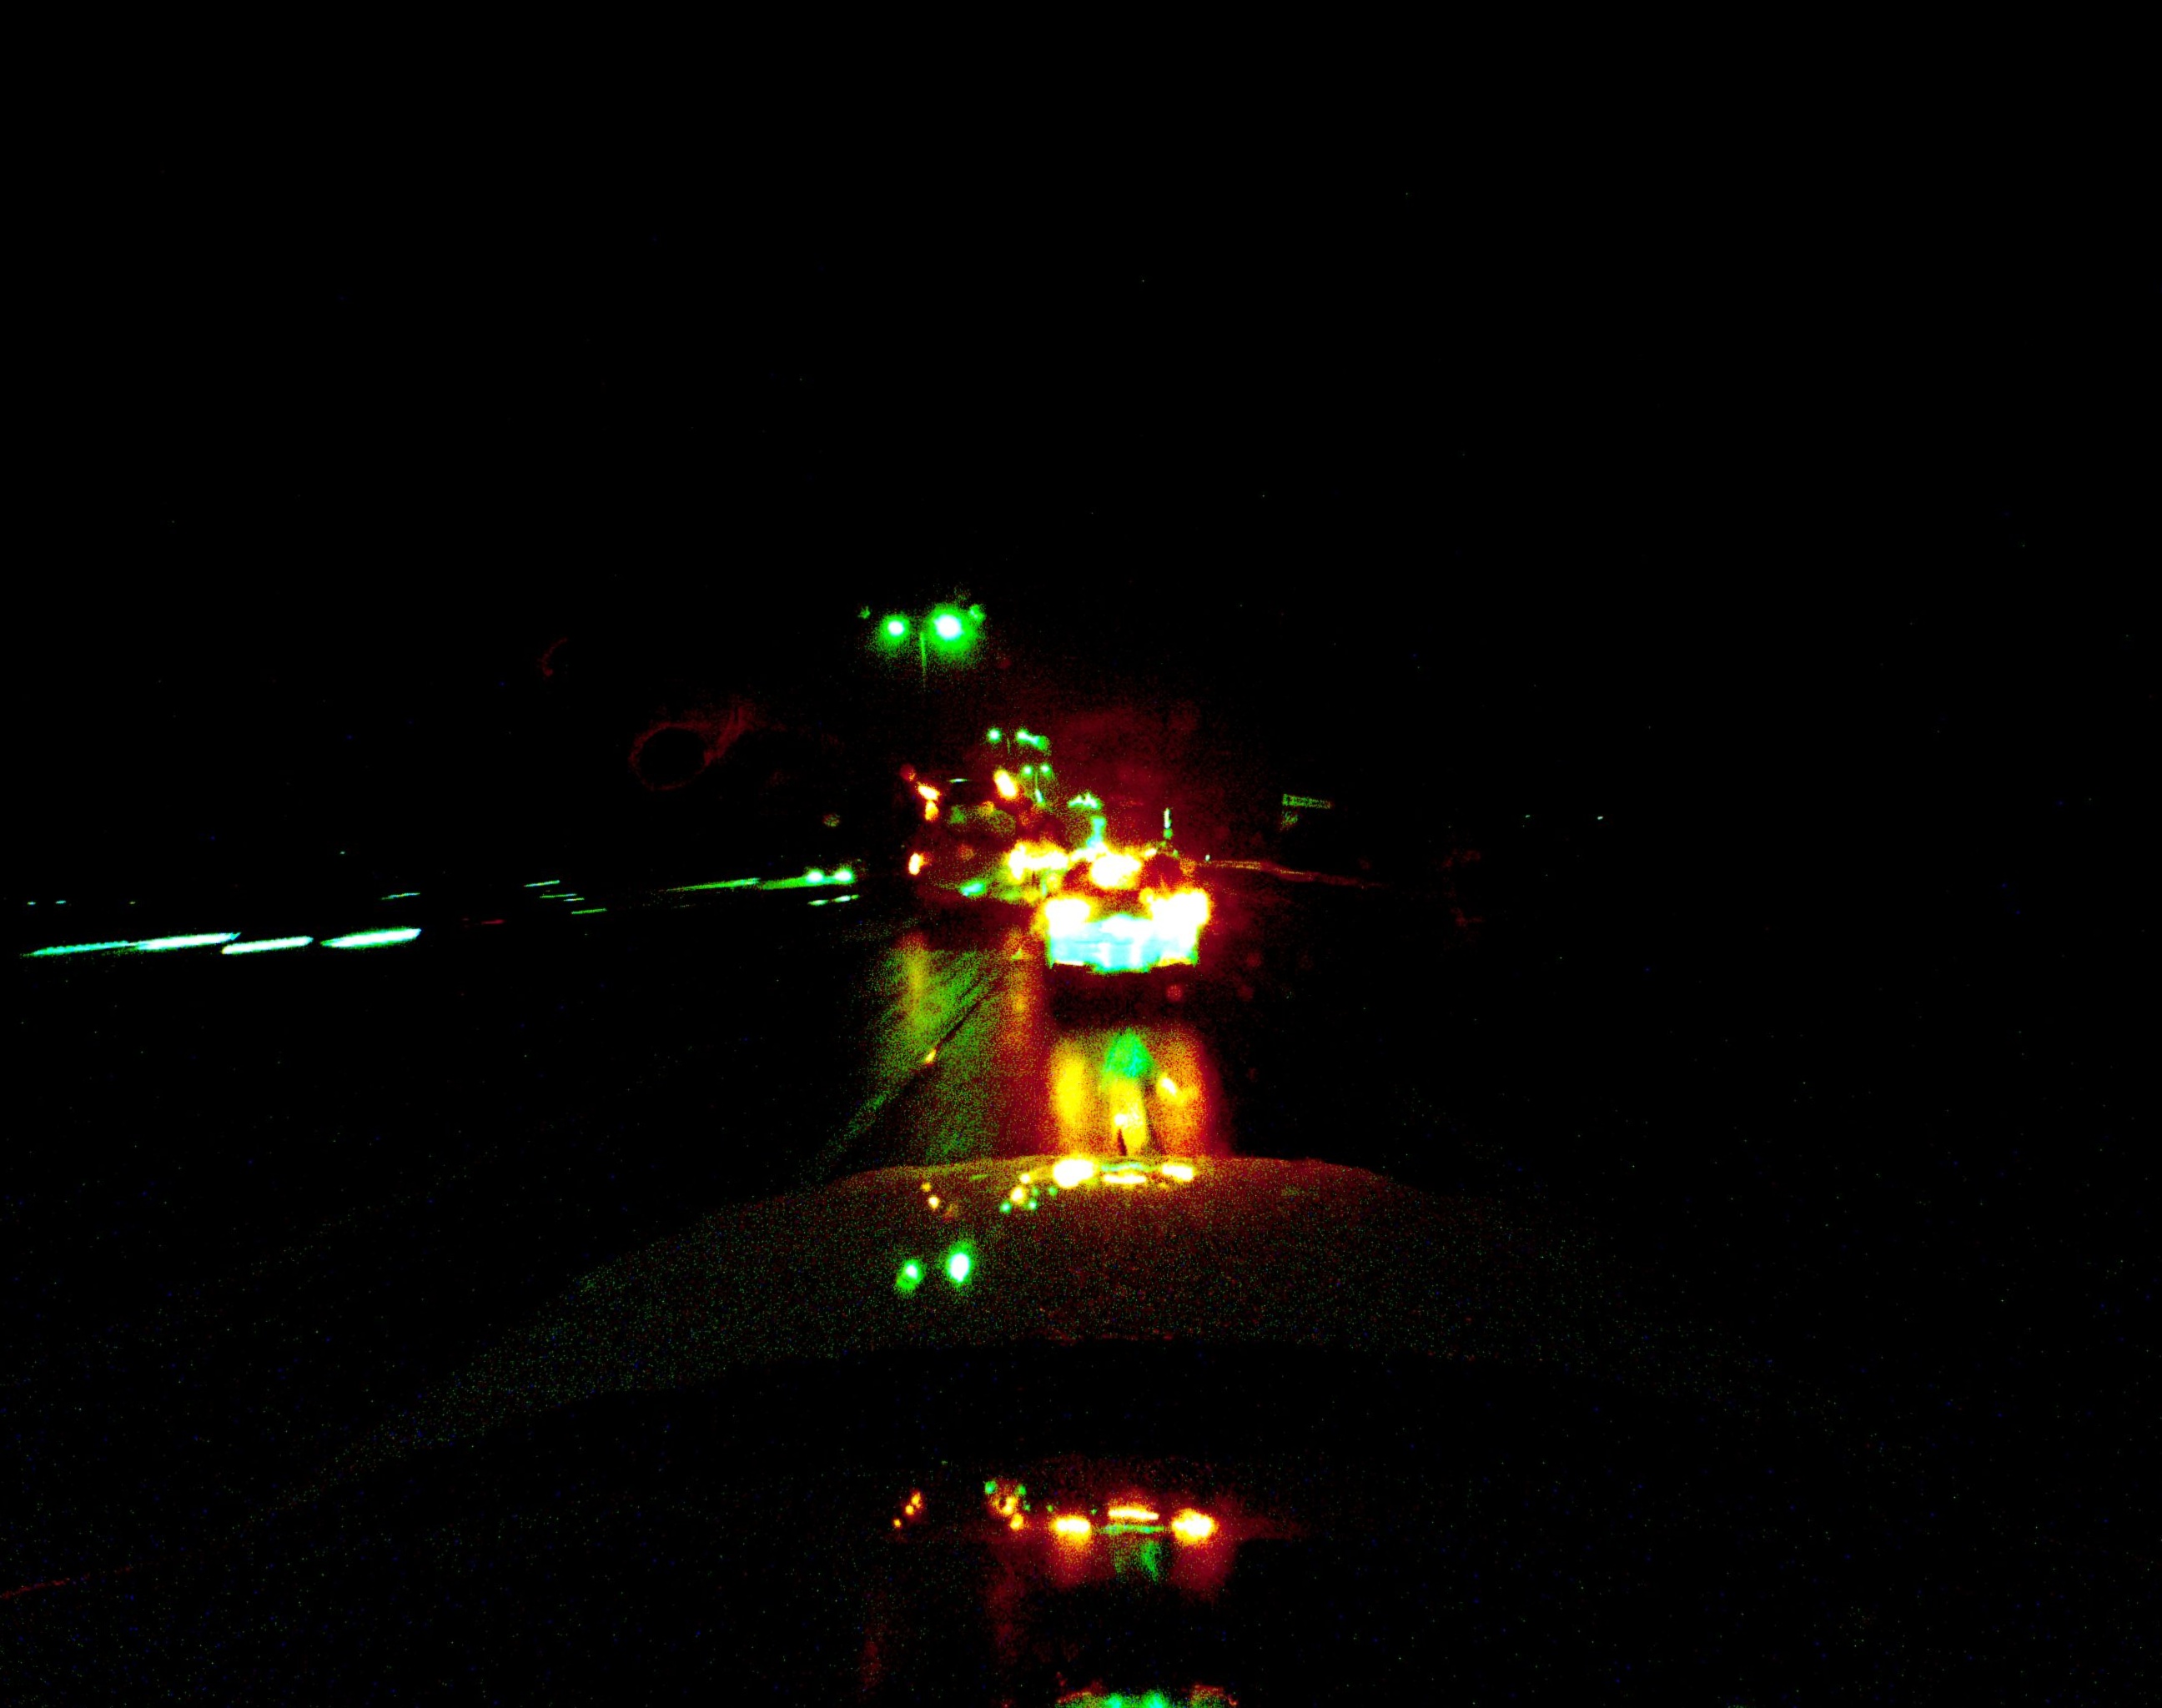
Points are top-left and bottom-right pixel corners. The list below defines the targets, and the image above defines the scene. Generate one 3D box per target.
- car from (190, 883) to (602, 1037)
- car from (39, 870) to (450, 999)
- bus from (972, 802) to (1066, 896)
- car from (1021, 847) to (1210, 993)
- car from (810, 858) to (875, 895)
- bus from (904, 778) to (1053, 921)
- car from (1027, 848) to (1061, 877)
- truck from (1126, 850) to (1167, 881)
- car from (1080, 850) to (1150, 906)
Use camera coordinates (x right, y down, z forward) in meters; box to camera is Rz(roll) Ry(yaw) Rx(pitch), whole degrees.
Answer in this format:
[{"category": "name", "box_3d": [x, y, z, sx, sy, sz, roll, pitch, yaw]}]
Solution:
[{"category": "car", "box_3d": [-9.737, 1.374, 12.297, 2.158, 1.774, 4.704, 1, -1, 0]}, {"category": "car", "box_3d": [-13.497, 1.170, 13.727, 1.987, 1.774, 4.704, 1, -1, 0]}, {"category": "bus", "box_3d": [-2.158, -0.197, 31.513, 2.734, 3.123, 8.706, 1, 0, 1]}, {"category": "car", "box_3d": [0.530, 0.690, 10.273, 1.935, 1.491, 3.721, -1, 0, 5]}, {"category": "car", "box_3d": [-12.409, 1.151, 42.613, 1.986, 1.809, 4.201, 1, -1, 2]}, {"category": "bus", "box_3d": [-2.413, -0.141, 22.539, 2.734, 3.123, 9.203, 1, 0, 1]}, {"category": "car", "box_3d": [-1.983, 0.472, 44.594, 1.552, 1.487, 3.810, 1, -1, 2]}, {"category": "truck", "box_3d": [5.724, 0.981, 70.466, 3.052, 2.528, 7.182, 0, -1, 8]}, {"category": "car", "box_3d": [0.959, 0.630, 23.124, 1.815, 1.461, 3.718, -1, 0, 2]}]
